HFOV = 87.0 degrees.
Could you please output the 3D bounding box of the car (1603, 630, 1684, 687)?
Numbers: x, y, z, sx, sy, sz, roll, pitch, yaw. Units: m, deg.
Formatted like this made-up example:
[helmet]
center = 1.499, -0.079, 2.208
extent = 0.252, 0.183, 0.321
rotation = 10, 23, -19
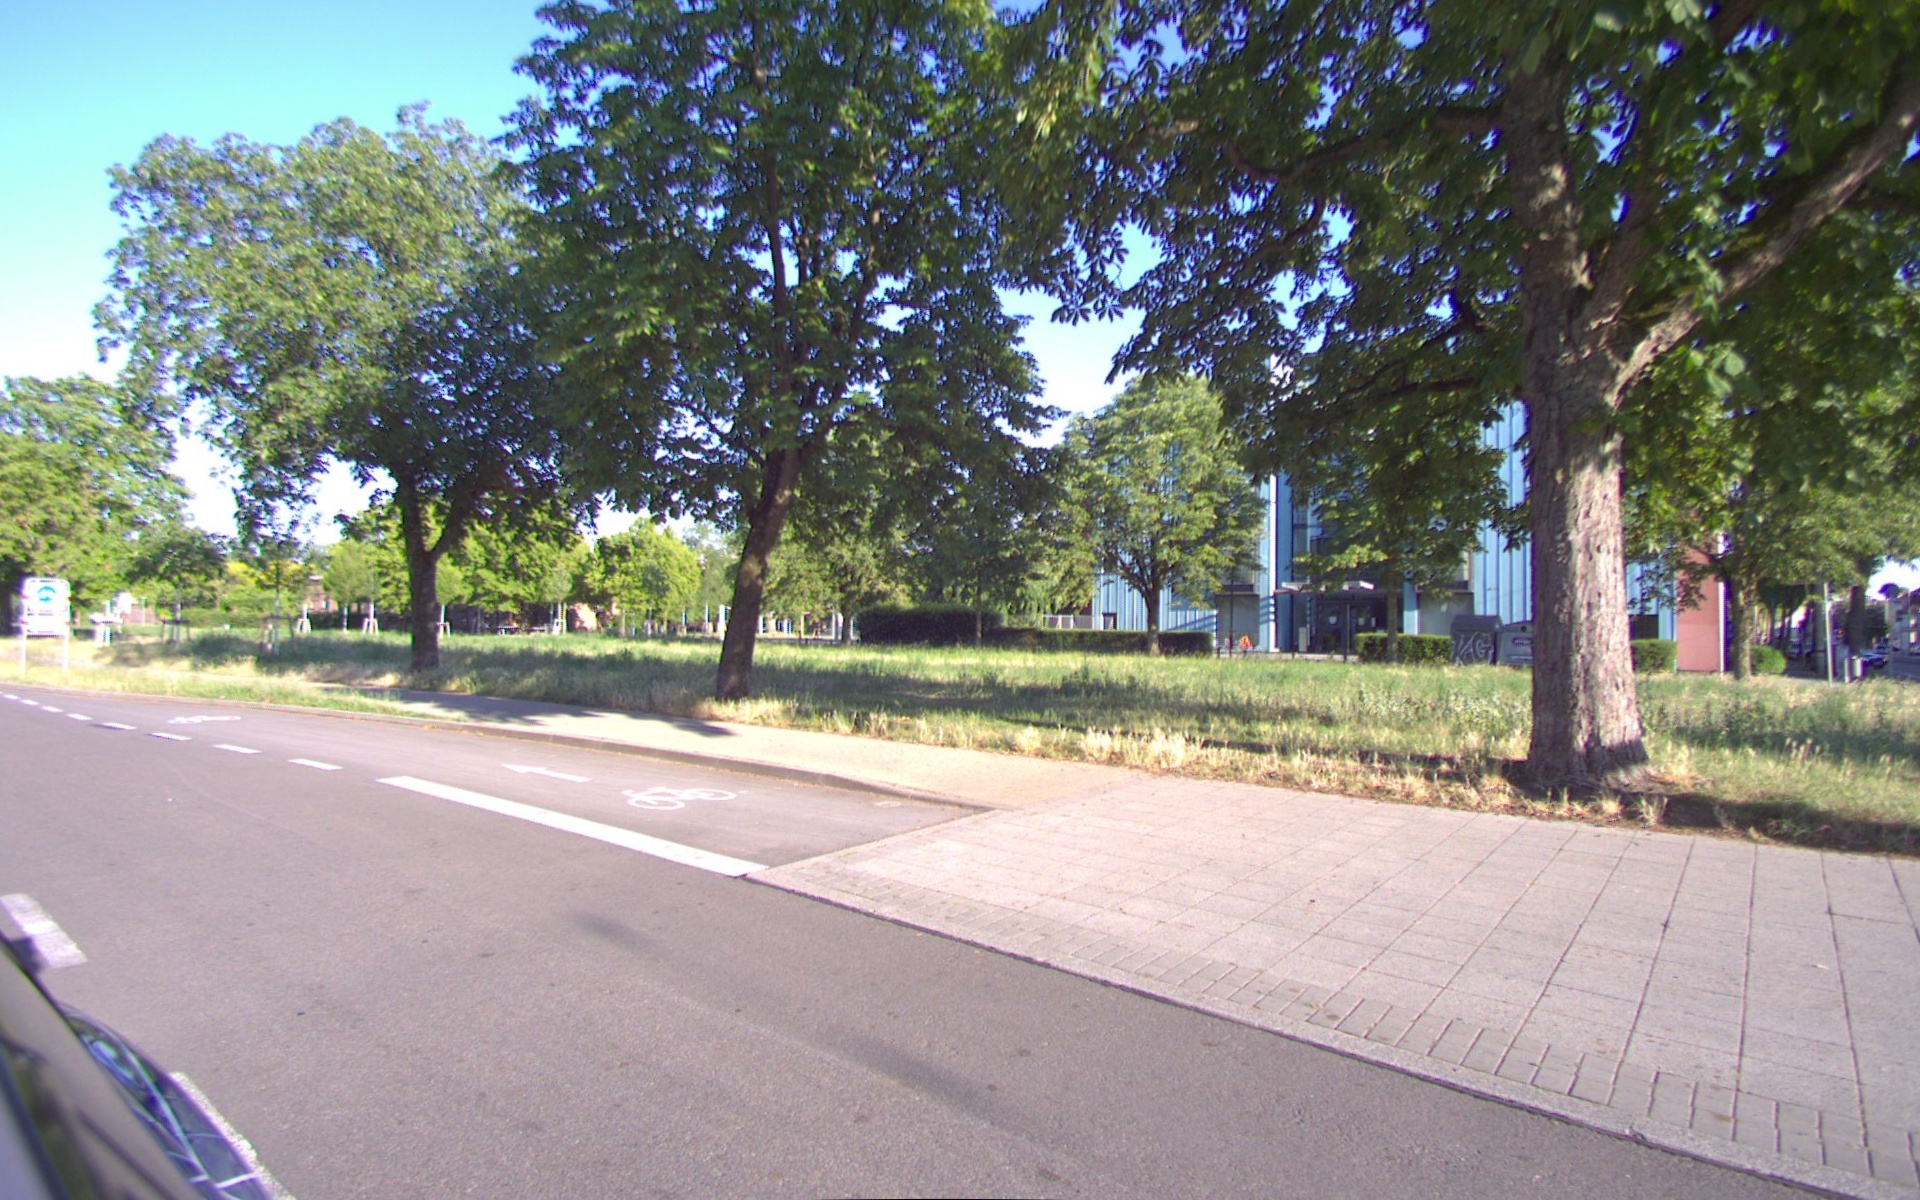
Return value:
[car]
center = 23.246, 1.913, 34.319
extent = 1.997, 1.684, 5.158
rotation = 0, -1, 37
